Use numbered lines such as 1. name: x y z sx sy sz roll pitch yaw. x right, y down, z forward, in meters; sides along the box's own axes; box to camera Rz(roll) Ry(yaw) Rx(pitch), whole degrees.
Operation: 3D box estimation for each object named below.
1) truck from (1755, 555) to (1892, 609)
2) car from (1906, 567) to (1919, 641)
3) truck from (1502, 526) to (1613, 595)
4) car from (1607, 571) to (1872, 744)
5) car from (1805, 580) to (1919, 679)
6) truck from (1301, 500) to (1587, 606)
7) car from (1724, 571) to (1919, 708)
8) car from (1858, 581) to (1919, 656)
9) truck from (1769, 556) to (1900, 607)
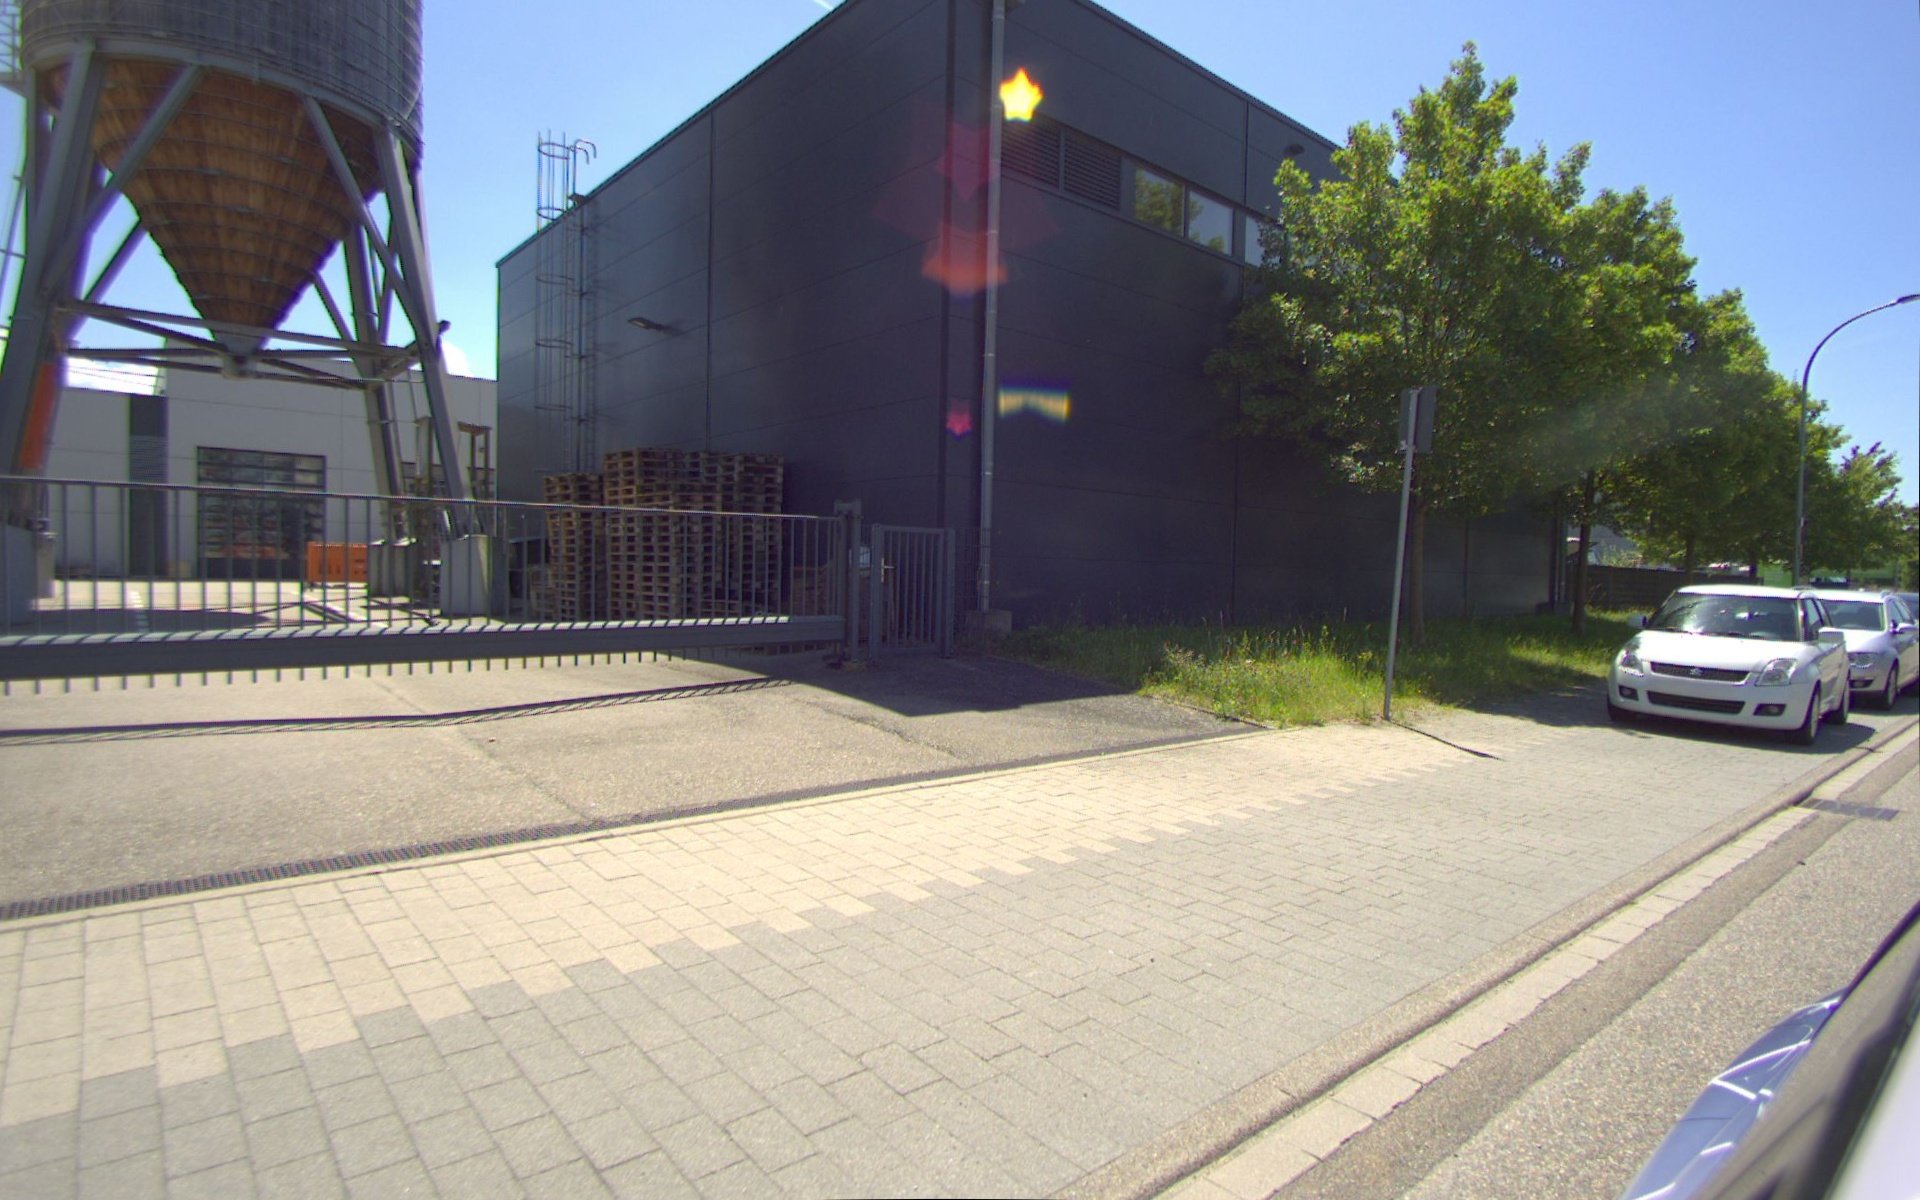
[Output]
1. truck: 51.160 -1.148 60.072 2.372 2.948 5.834 -1 3 -41
2. car: 26.170 0.107 26.182 4.278 1.847 1.998 -1 3 -41
3. truck: 35.963 -2.406 61.029 2.754 3.922 5.075 -1 3 -39
4. car: 8.455 0.485 10.869 3.683 1.487 1.638 0 3 -43
5. car: 16.847 0.436 17.942 4.617 1.523 1.715 -1 3 -36
6. truck: 19.376 -2.009 41.115 9.967 3.868 2.994 4 3 40
7. car: 12.448 0.449 14.206 4.426 1.581 1.753 0 3 -40
8. car: 21.271 0.364 22.091 4.630 1.448 1.855 -1 4 -41
9. truck: 54.470 -1.209 63.133 2.267 2.907 5.911 -1 3 -43
